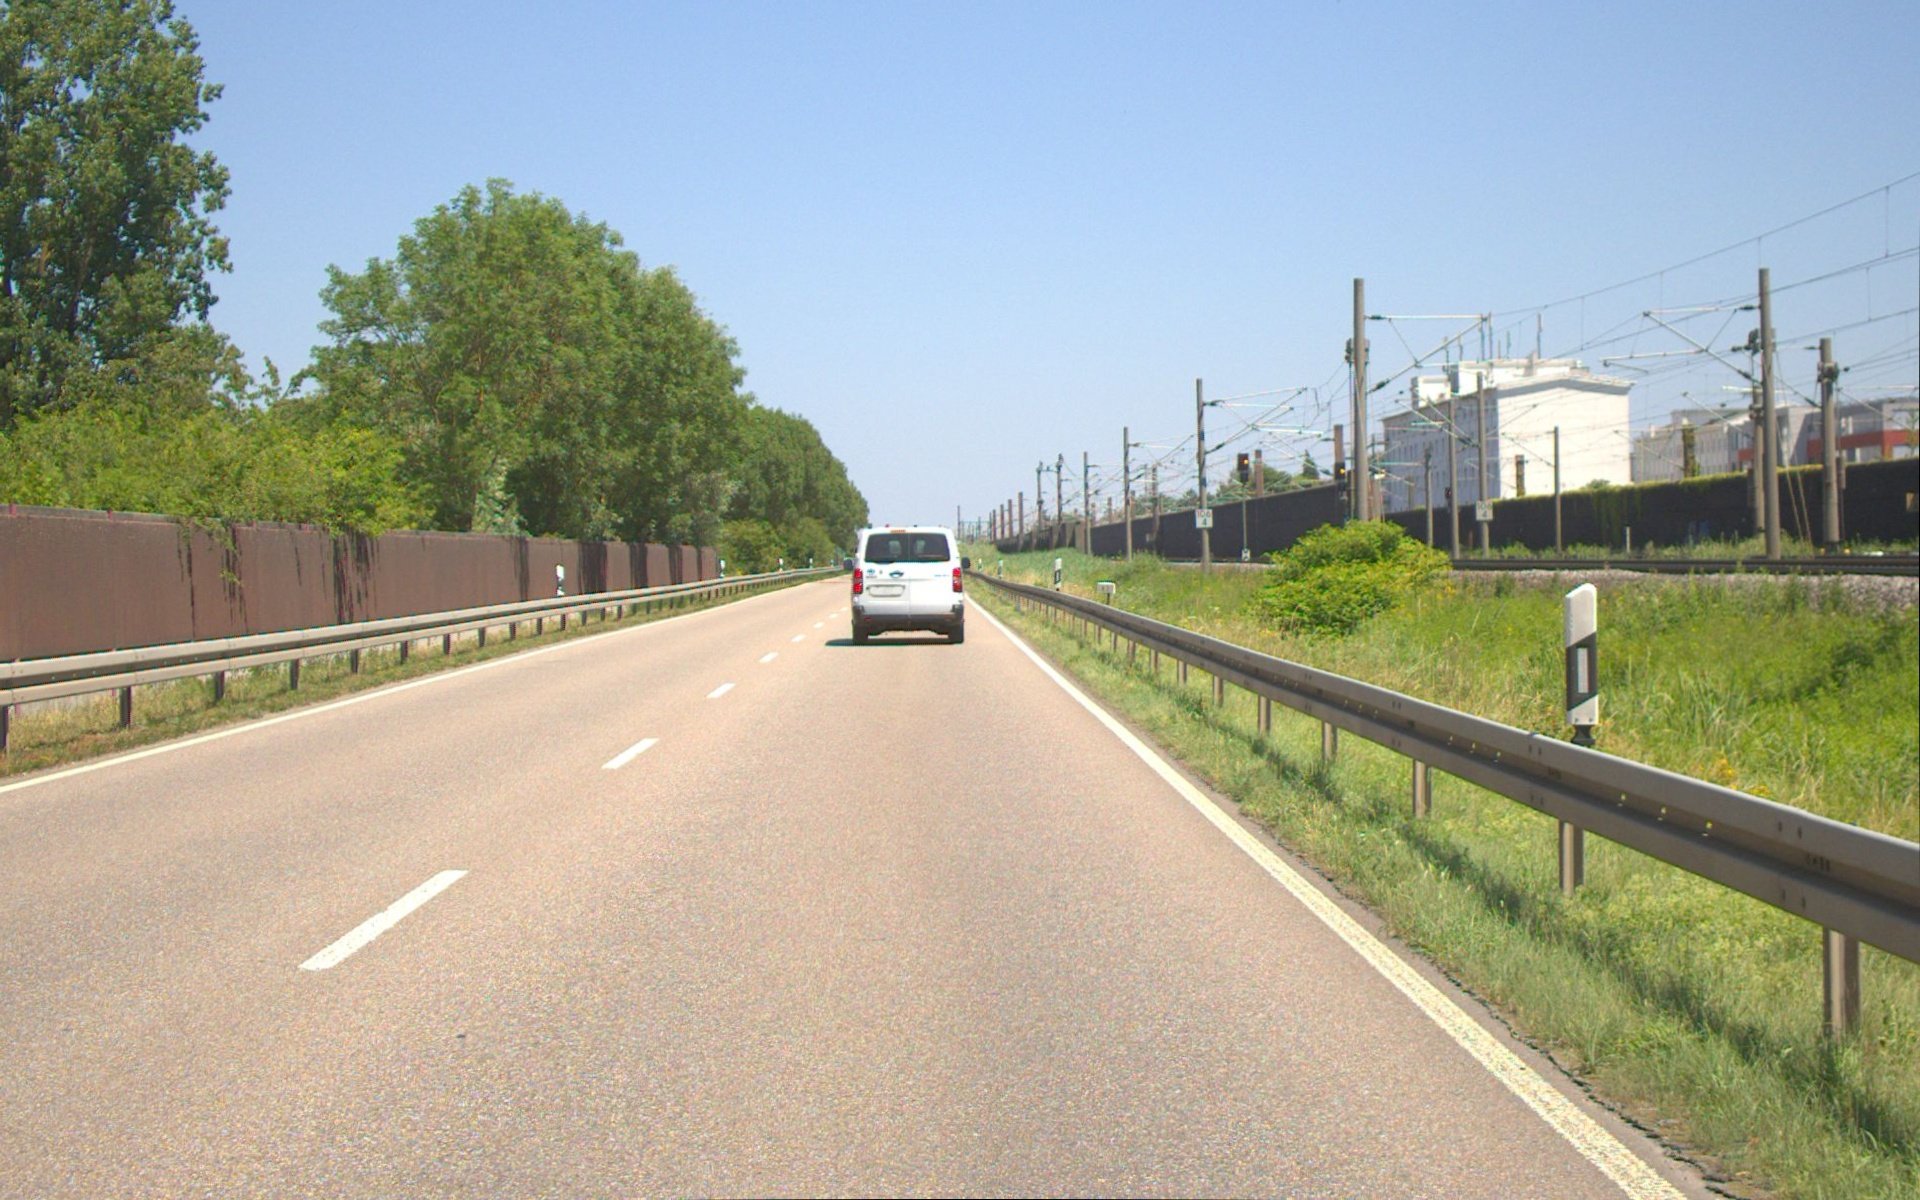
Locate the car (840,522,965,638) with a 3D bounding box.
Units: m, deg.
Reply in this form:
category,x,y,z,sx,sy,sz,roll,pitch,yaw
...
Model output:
category,x,y,z,sx,sy,sz,roll,pitch,yaw
car,-0.944,-0.351,57.569,1.993,1.843,4.000,1,1,-1
